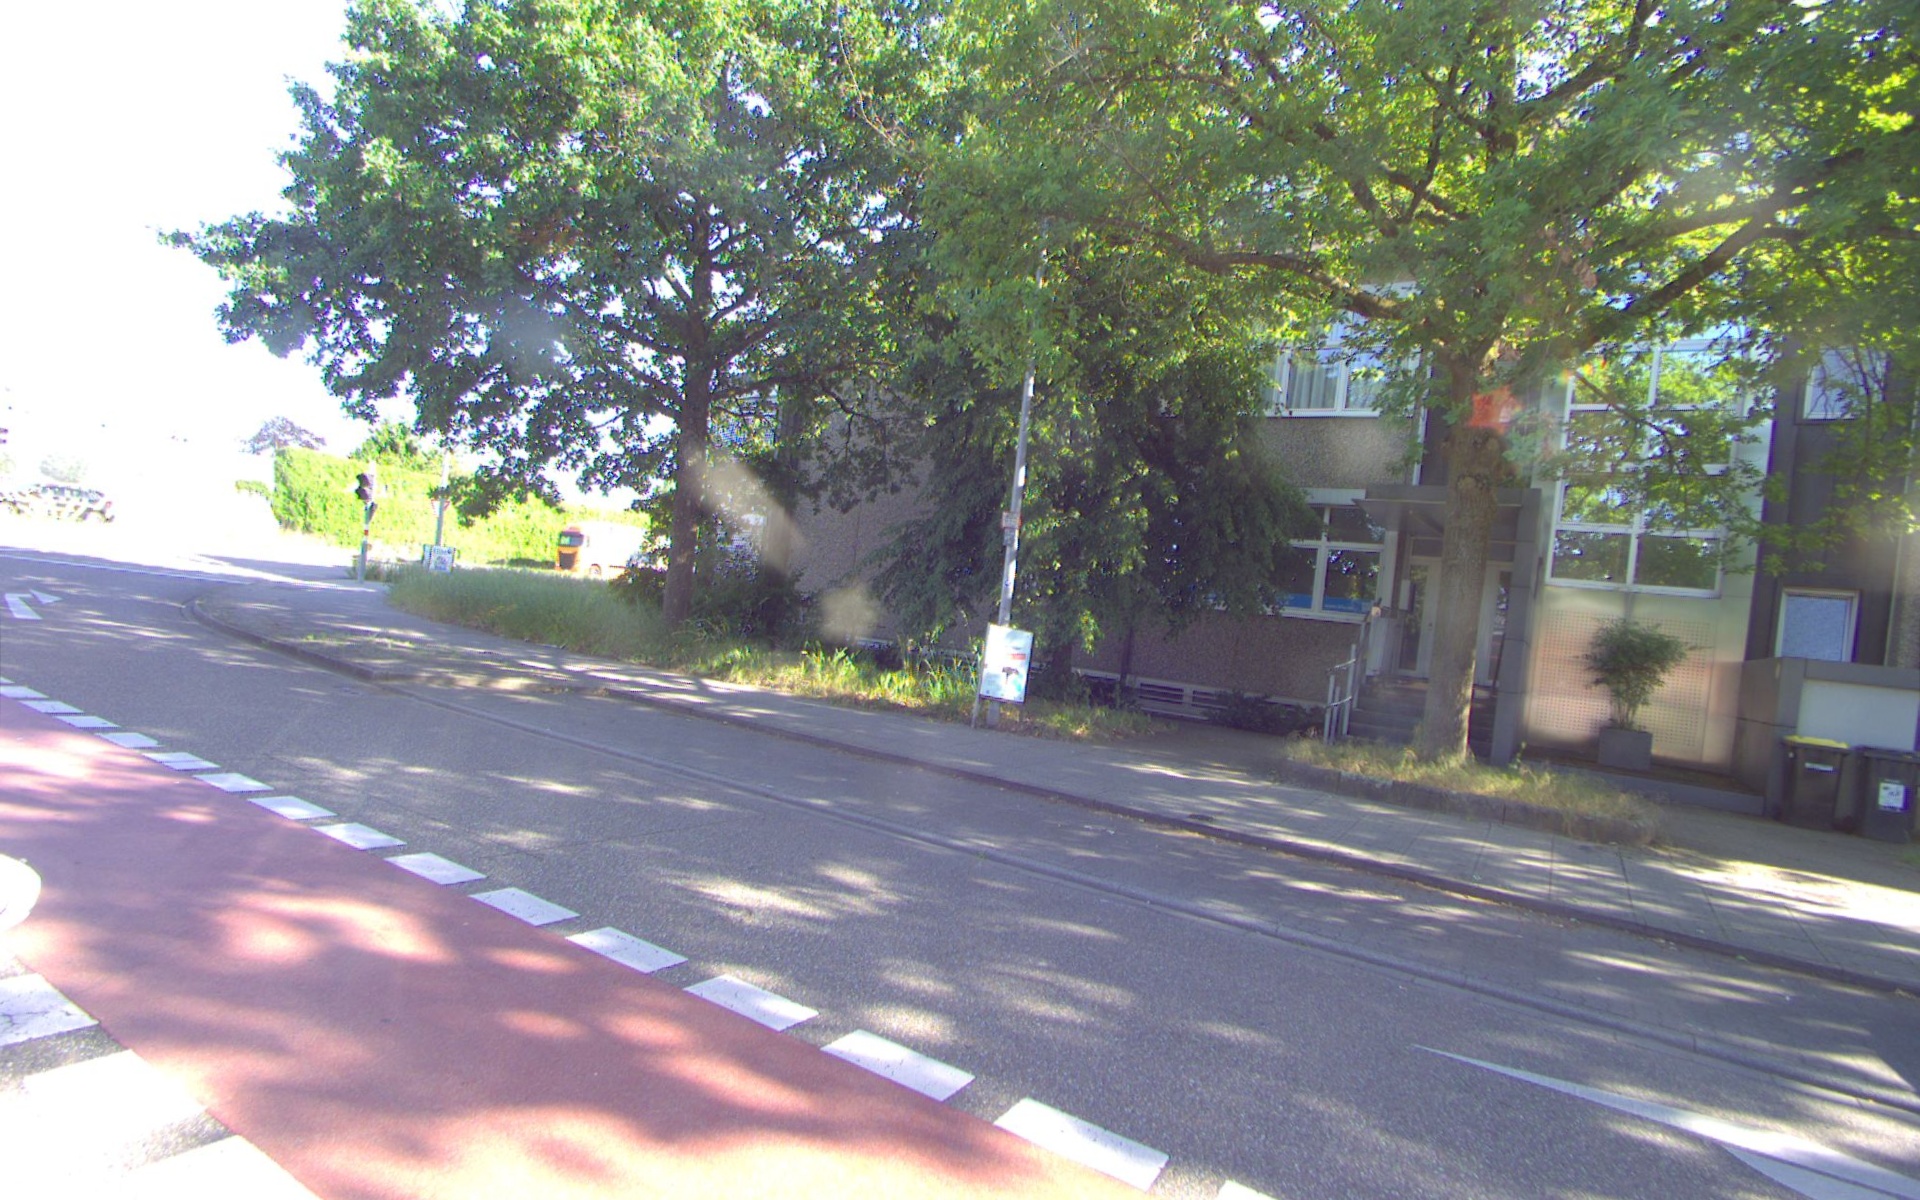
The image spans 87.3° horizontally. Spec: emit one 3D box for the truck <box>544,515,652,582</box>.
[{"bbox_3d":[-25.511,-3.559,71.190,3.379,4.066,6.485,7,2,25],"label":"truck"}]

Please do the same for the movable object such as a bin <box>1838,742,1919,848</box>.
[{"bbox_3d":[10.761,2.251,11.715,0.605,1.075,0.634,6,0,30],"label":"movable object such as a bin"}]

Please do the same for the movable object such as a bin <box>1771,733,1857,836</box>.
[{"bbox_3d":[10.173,2.183,12.009,0.575,1.070,0.625,7,0,30],"label":"movable object such as a bin"}]

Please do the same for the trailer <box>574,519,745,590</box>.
[{"bbox_3d":[-22.619,-3.312,77.373,3.379,4.064,14.683,6,1,25],"label":"trailer"}]

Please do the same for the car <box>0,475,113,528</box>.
[{"bbox_3d":[-34.045,-3.671,36.938,1.737,1.545,4.073,7,1,28],"label":"car"}]
